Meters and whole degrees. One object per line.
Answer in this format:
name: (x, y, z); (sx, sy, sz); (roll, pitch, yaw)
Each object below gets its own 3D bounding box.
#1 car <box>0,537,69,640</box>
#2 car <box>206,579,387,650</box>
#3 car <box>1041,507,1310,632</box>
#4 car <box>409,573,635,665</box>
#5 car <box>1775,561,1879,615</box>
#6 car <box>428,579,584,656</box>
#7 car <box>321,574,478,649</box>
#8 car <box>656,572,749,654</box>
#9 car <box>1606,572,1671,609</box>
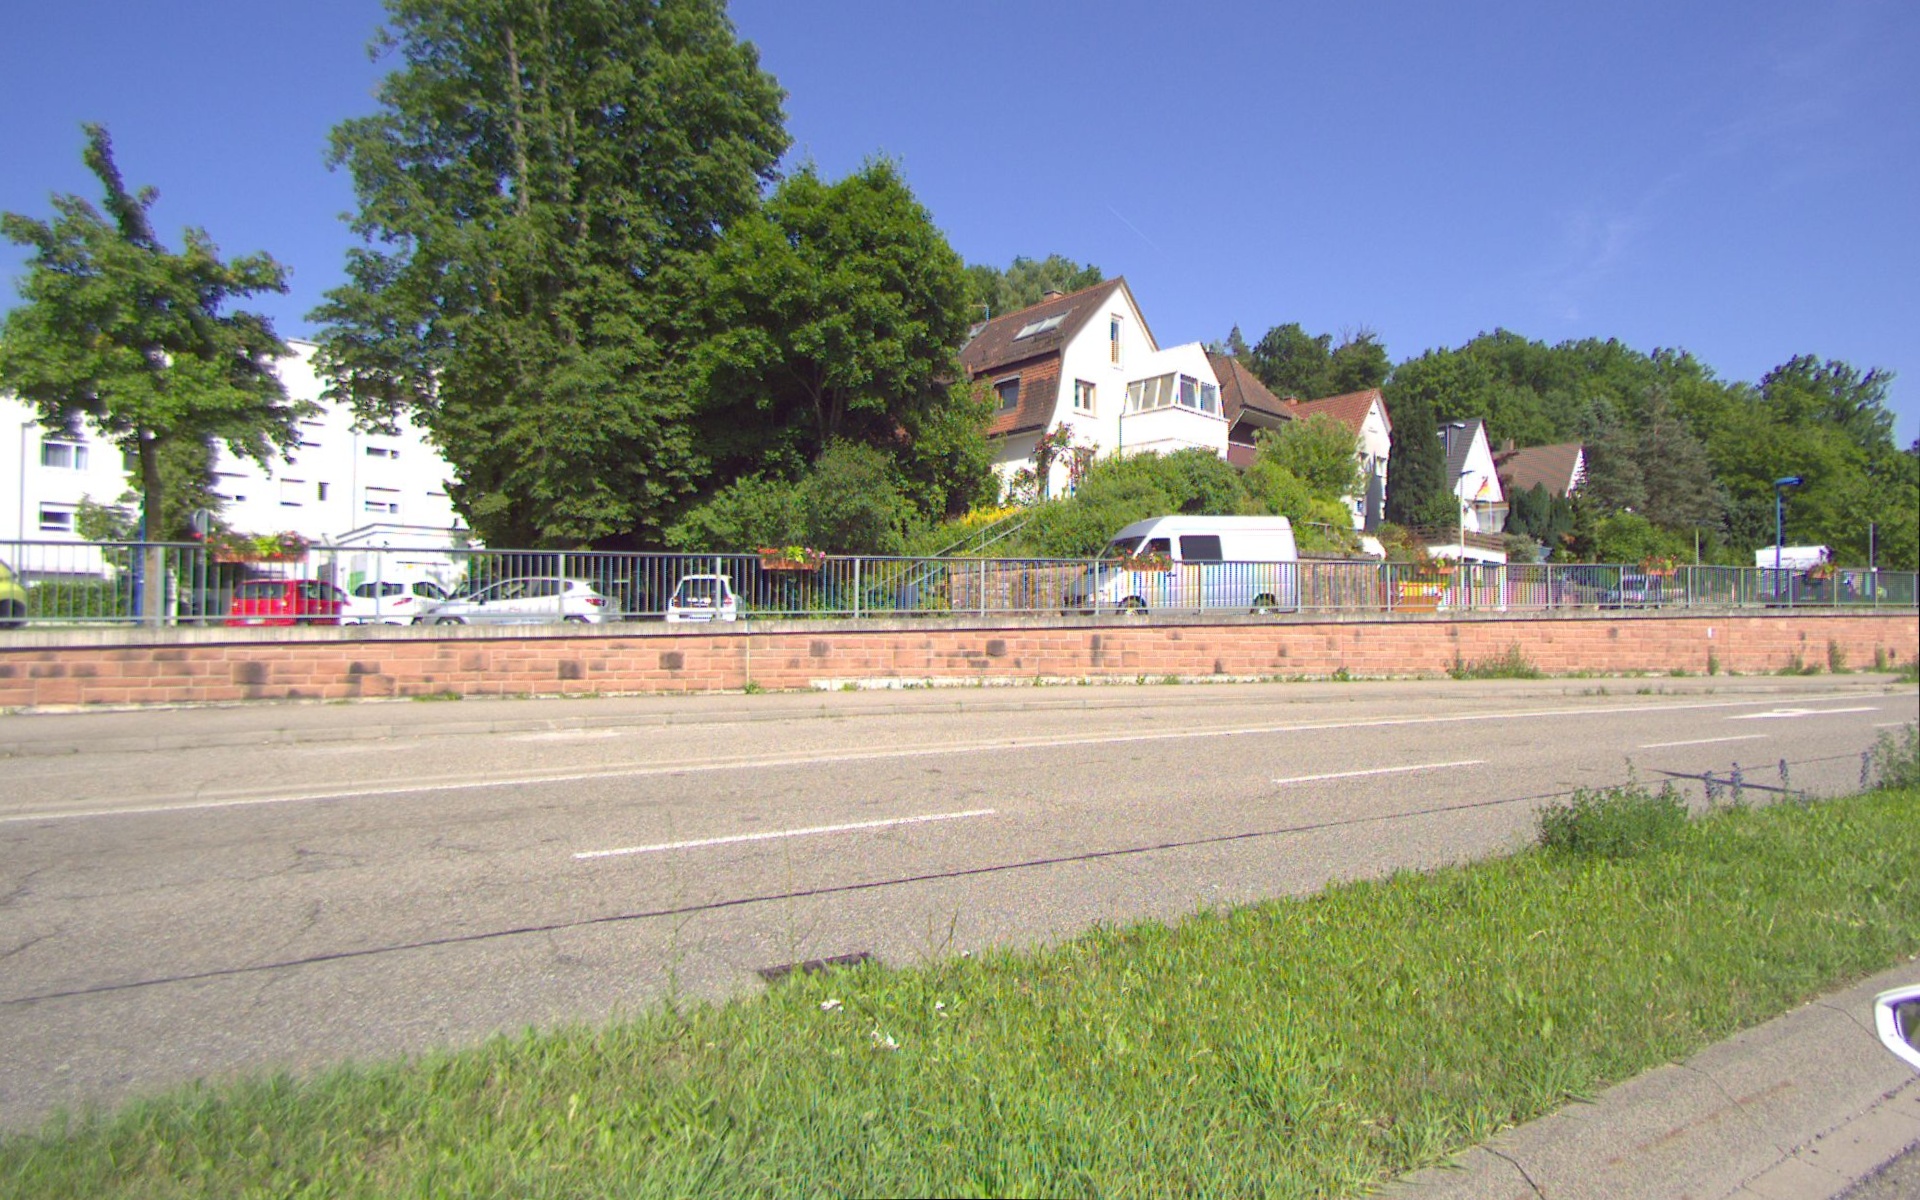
car: (-14.028, -0.148, 12.772); (1.876, 1.400, 3.998); (1, 1, -2)
car: (-16.229, 0.285, 24.846); (1.876, 1.581, 3.998); (1, 1, -2)
car: (4.775, -0.630, 22.138); (5.707, 2.477, 2.086); (0, 2, -26)
car: (-9.176, 0.411, 21.299); (3.922, 1.813, 1.922); (1, -1, -1)
car: (33.307, -0.475, 38.559); (4.686, 1.946, 2.006); (0, 2, -37)
car: (-10.978, 0.351, 24.634); (1.960, 1.694, 3.999); (1, 1, 0)
car: (-13.832, 0.213, 25.081); (1.877, 1.724, 3.996); (0, 2, -5)
car: (-6.413, 0.259, 25.349); (1.879, 1.901, 3.993); (0, 1, -9)
car: (32.326, -0.432, 47.811); (1.875, 1.651, 3.975); (0, -1, 44)
